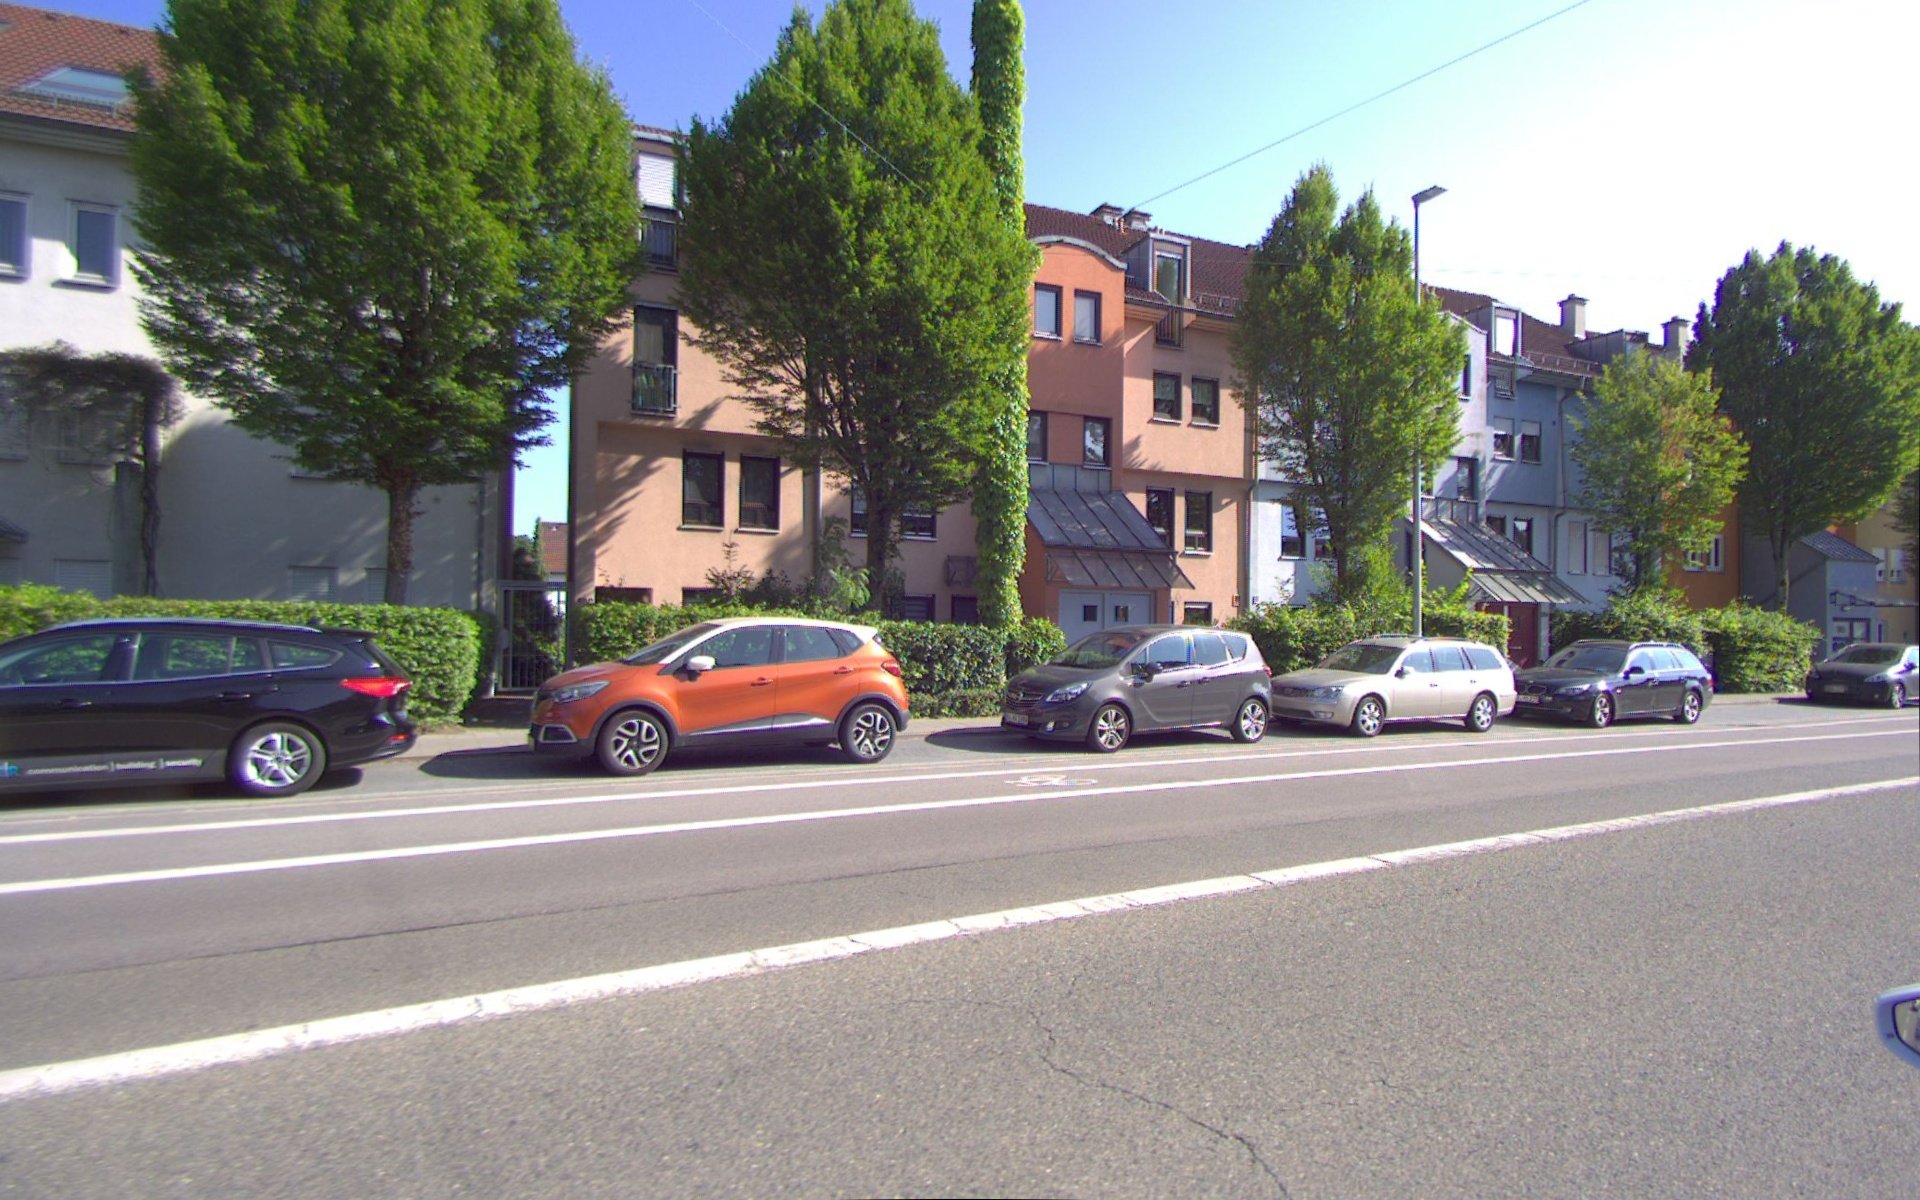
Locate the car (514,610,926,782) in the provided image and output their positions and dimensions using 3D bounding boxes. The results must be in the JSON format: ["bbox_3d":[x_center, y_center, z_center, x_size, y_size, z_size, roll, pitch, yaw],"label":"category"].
[{"bbox_3d":[-2.604,0.970,11.138,4.113,1.594,1.754,2,-2,-30],"label":"car"}]

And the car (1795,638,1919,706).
[{"bbox_3d":[22.244,1.701,24.313,4.004,1.485,1.611,1,0,-26],"label":"car"}]

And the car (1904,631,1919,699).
[{"bbox_3d":[27.141,1.745,26.370,4.756,1.723,1.664,1,0,-23],"label":"car"}]

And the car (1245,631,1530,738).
[{"bbox_3d":[7.102,1.350,16.553,4.785,1.491,1.705,2,0,-29],"label":"car"}]

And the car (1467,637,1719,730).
[{"bbox_3d":[11.999,1.511,18.982,4.844,1.491,1.704,1,1,-26],"label":"car"}]

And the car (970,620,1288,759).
[{"bbox_3d":[2.402,1.142,13.892,4.253,1.595,1.752,2,0,-33],"label":"car"}]

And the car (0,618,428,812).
[{"bbox_3d":[-7.139,0.881,8.439,4.658,1.443,1.644,1,-2,-31],"label":"car"}]
